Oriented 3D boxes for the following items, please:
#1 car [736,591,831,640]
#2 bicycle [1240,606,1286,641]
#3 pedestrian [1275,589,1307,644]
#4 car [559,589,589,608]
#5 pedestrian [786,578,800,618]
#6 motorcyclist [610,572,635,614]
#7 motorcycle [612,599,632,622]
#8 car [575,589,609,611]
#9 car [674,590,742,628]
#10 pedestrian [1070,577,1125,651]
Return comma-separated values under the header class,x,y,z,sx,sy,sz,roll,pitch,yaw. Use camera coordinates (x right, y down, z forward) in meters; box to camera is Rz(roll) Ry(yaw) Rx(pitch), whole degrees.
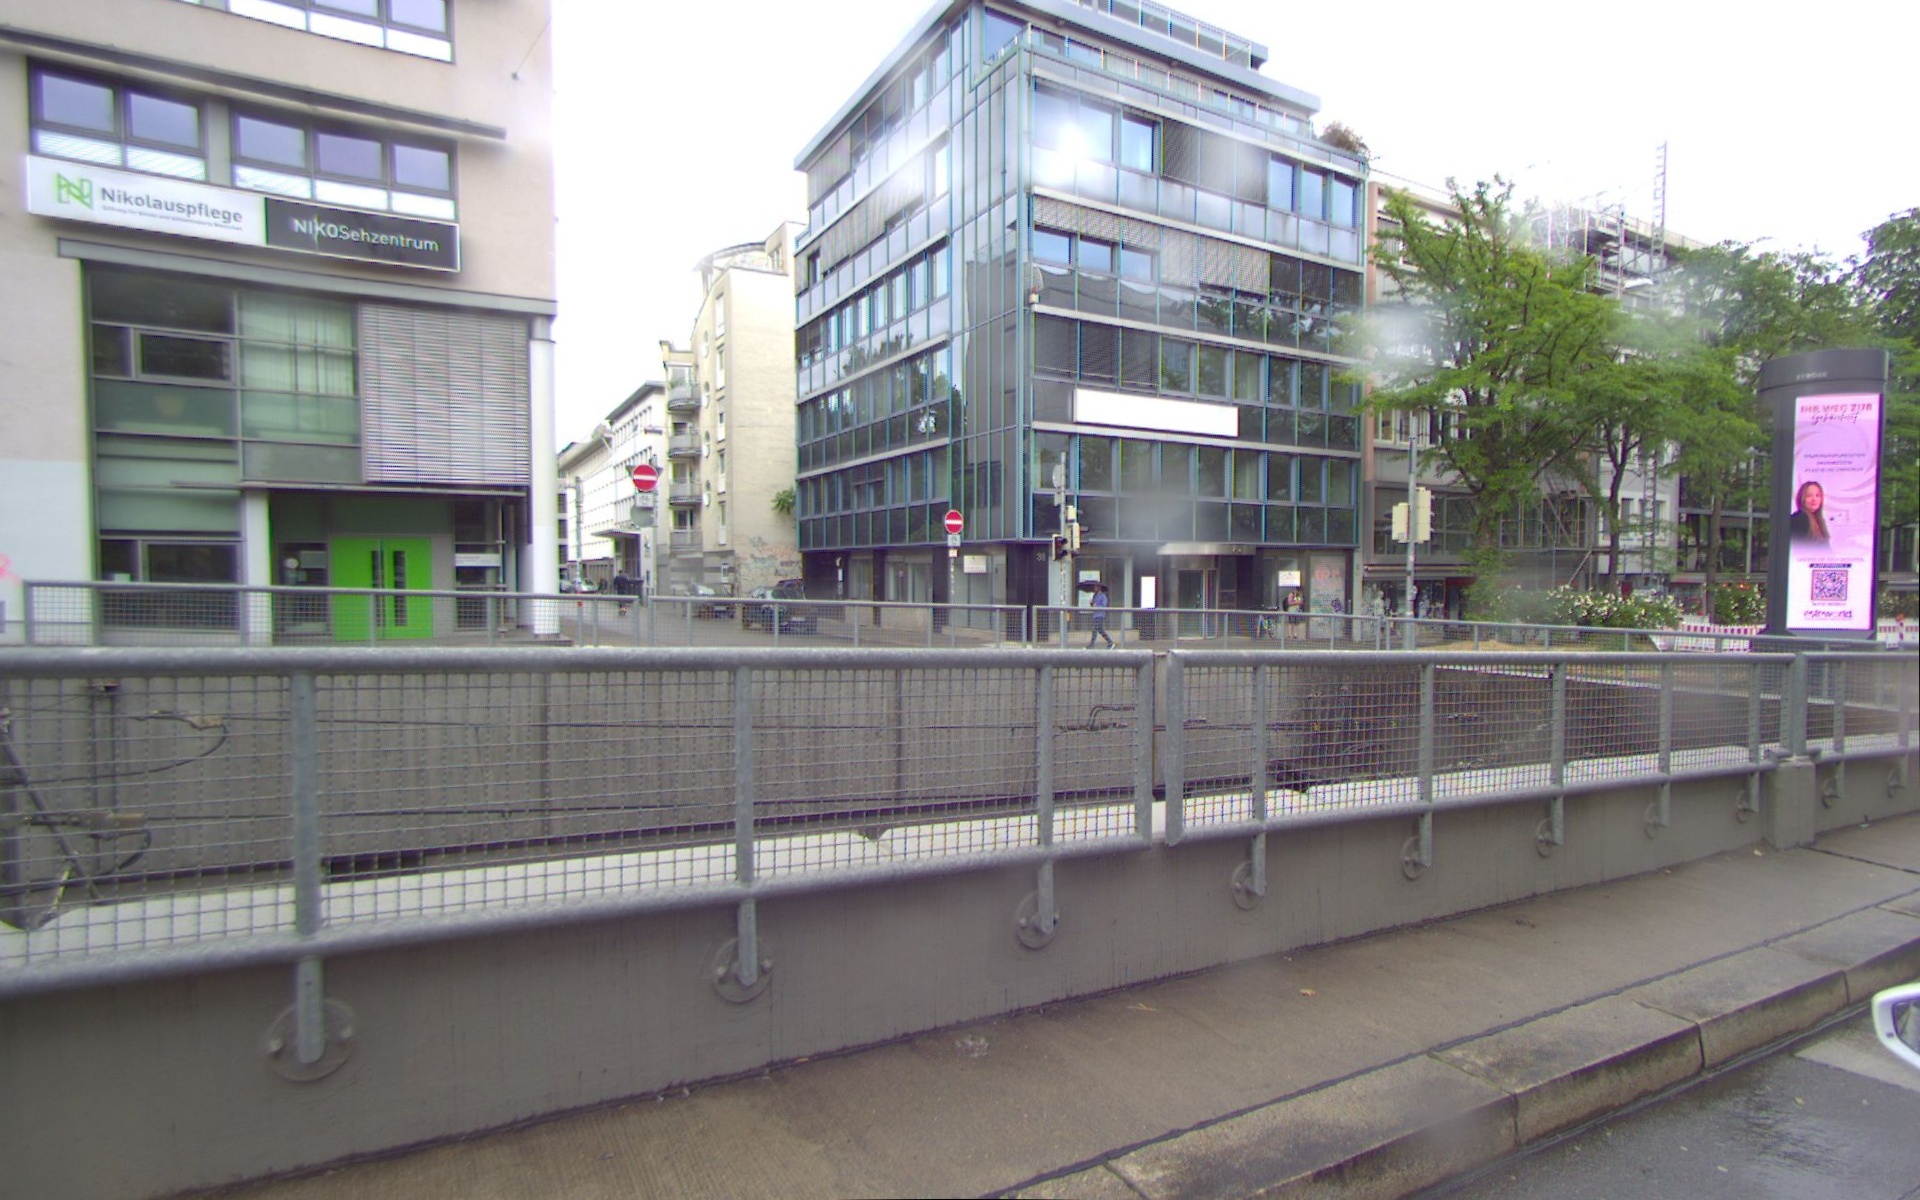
class,x,y,z,sx,sy,sz,roll,pitch,yaw
car,-6.243,0.507,35.171,1.977,1.578,3.966,1,0,-31
bicycle,9.867,0.755,32.723,1.544,1.100,0.444,1,1,-27
pedestrian,10.947,0.551,33.231,0.688,1.765,0.691,1,2,-35
car,-33.847,-0.116,88.051,1.777,1.578,3.967,1,0,-30
pedestrian,-7.155,-0.082,42.985,0.443,1.664,0.326,1,2,-35
motorcyclist,-15.247,-0.318,45.344,0.850,1.832,1.007,1,2,-29
motorcycle,-15.258,0.454,45.364,0.696,0.984,0.977,1,2,-29
car,-27.923,0.007,76.135,1.777,1.578,3.967,1,0,-30
car,-11.108,0.367,44.109,1.777,1.578,3.966,1,0,-31
pedestrian,3.579,0.357,26.143,1.047,1.863,0.853,1,2,-30
